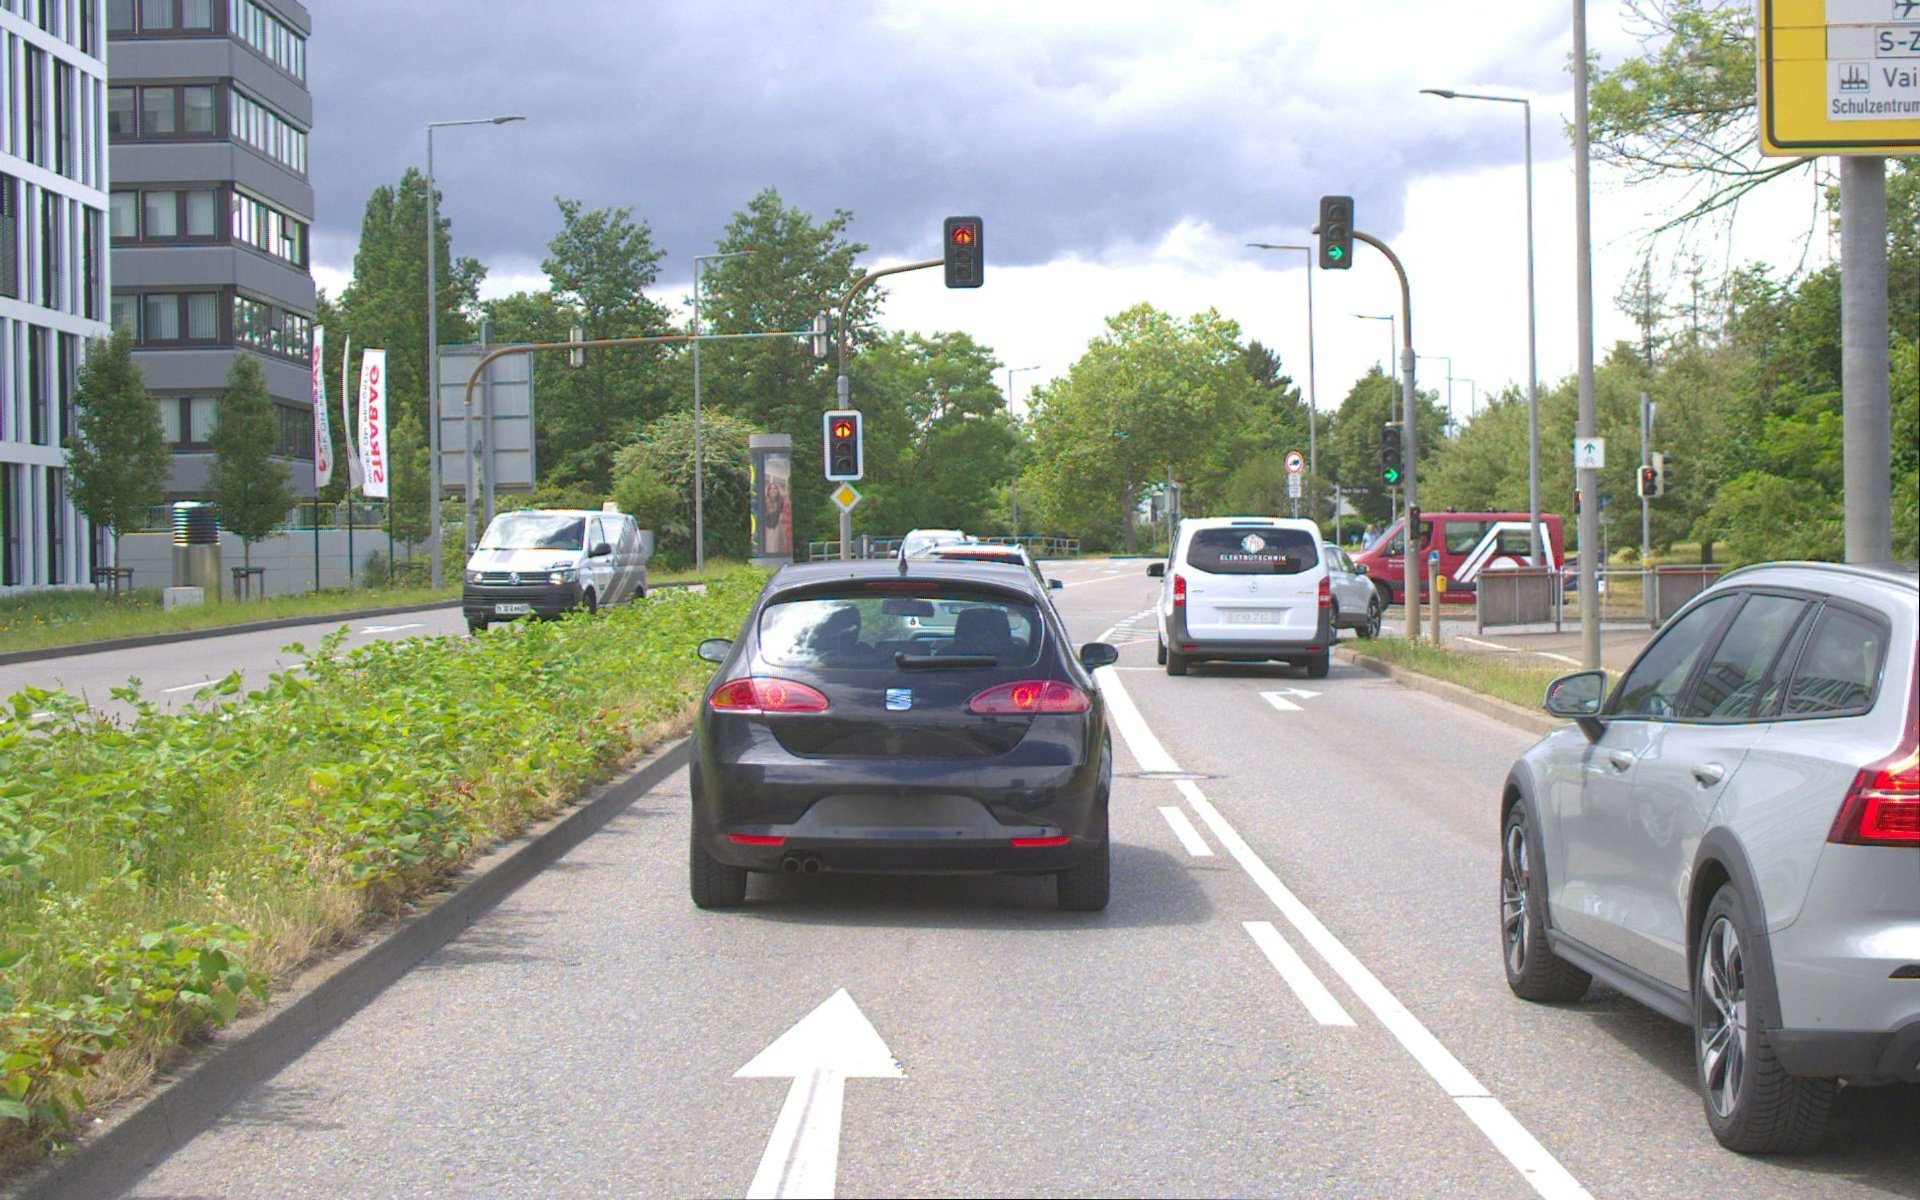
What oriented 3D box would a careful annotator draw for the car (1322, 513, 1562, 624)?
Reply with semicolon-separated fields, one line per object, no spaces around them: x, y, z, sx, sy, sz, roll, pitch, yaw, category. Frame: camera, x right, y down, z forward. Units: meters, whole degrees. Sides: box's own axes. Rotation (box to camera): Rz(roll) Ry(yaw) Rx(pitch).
10.706;-0.712;76.576;5.225;2.404;2.000;0;1;7;car

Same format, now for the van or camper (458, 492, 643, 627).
-6.343;-0.648;53.755;1.994;2.007;4.815;0;1;4;van or camper

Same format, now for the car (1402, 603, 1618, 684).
9.699;0.748;60.722;3.378;1.341;1.690;-1;1;-13;car

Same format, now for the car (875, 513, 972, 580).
-0.857;-1.311;83.513;1.994;1.590;4.000;0;1;5;car

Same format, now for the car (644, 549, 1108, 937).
-0.286;0.523;15.076;1.773;1.447;3.582;1;1;1;car

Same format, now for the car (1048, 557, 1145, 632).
3.082;-0.150;77.019;1.994;1.590;4.000;0;1;5;car

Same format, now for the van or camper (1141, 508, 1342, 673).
3.311;-0.155;41.335;1.993;1.853;4.944;0;1;0;van or camper

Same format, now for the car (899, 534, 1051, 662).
0.154;-0.060;42.606;1.773;1.486;3.582;-1;1;-1;car

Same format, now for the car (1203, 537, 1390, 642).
5.326;-0.191;53.996;1.995;1.590;3.996;0;1;20;car

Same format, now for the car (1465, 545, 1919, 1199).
2.730;0.624;9.531;1.863;1.513;4.447;-1;1;-2;car

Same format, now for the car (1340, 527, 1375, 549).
25.234;-3.937;218.168;1.994;1.347;3.999;1;1;10;car
